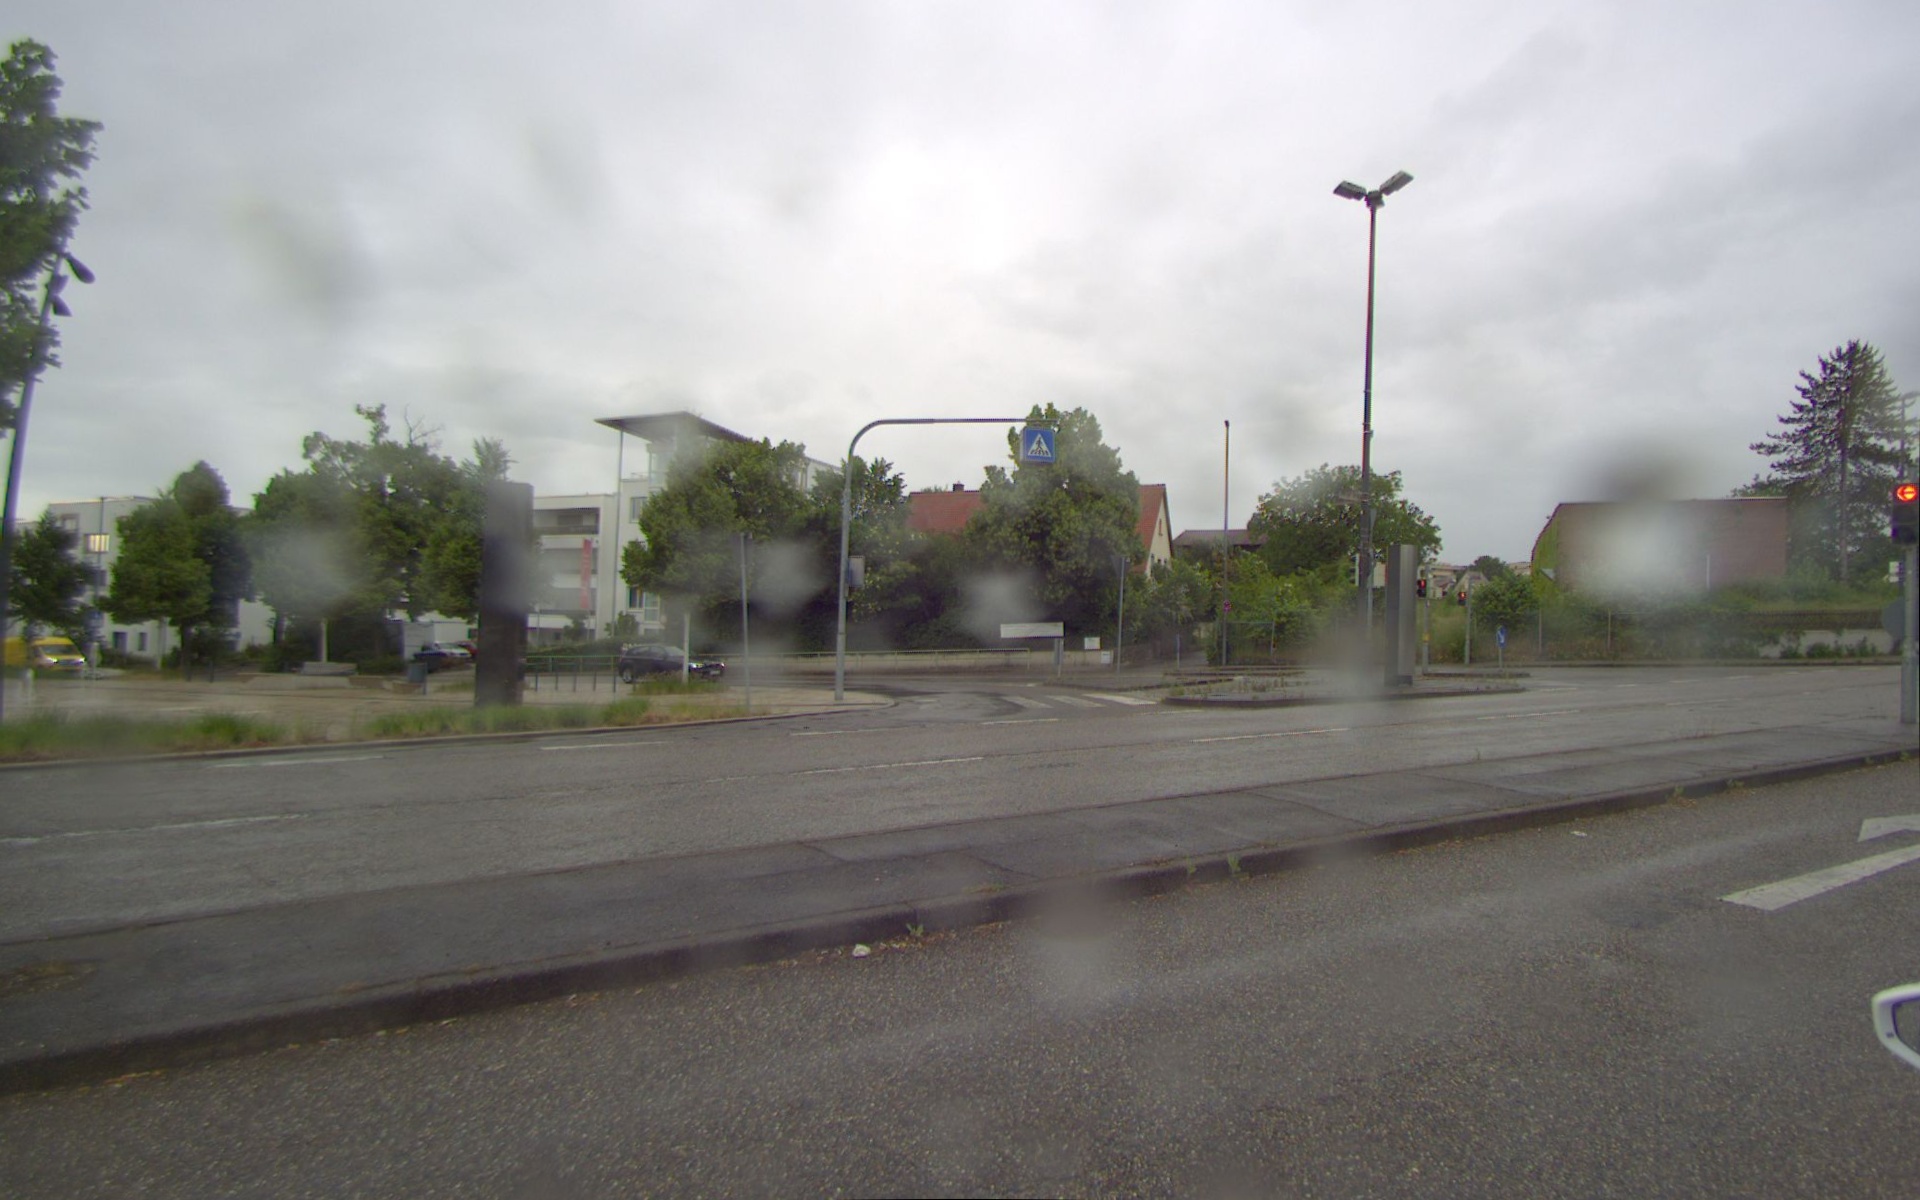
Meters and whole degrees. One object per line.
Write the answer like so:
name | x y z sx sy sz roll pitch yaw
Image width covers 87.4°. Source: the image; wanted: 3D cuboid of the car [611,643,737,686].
car | -10.366 2.311 36.451 4.198 1.408 1.790 0 -2 23

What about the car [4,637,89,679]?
car | -55.765 3.564 61.272 5.810 2.441 1.997 -2 -3 29
